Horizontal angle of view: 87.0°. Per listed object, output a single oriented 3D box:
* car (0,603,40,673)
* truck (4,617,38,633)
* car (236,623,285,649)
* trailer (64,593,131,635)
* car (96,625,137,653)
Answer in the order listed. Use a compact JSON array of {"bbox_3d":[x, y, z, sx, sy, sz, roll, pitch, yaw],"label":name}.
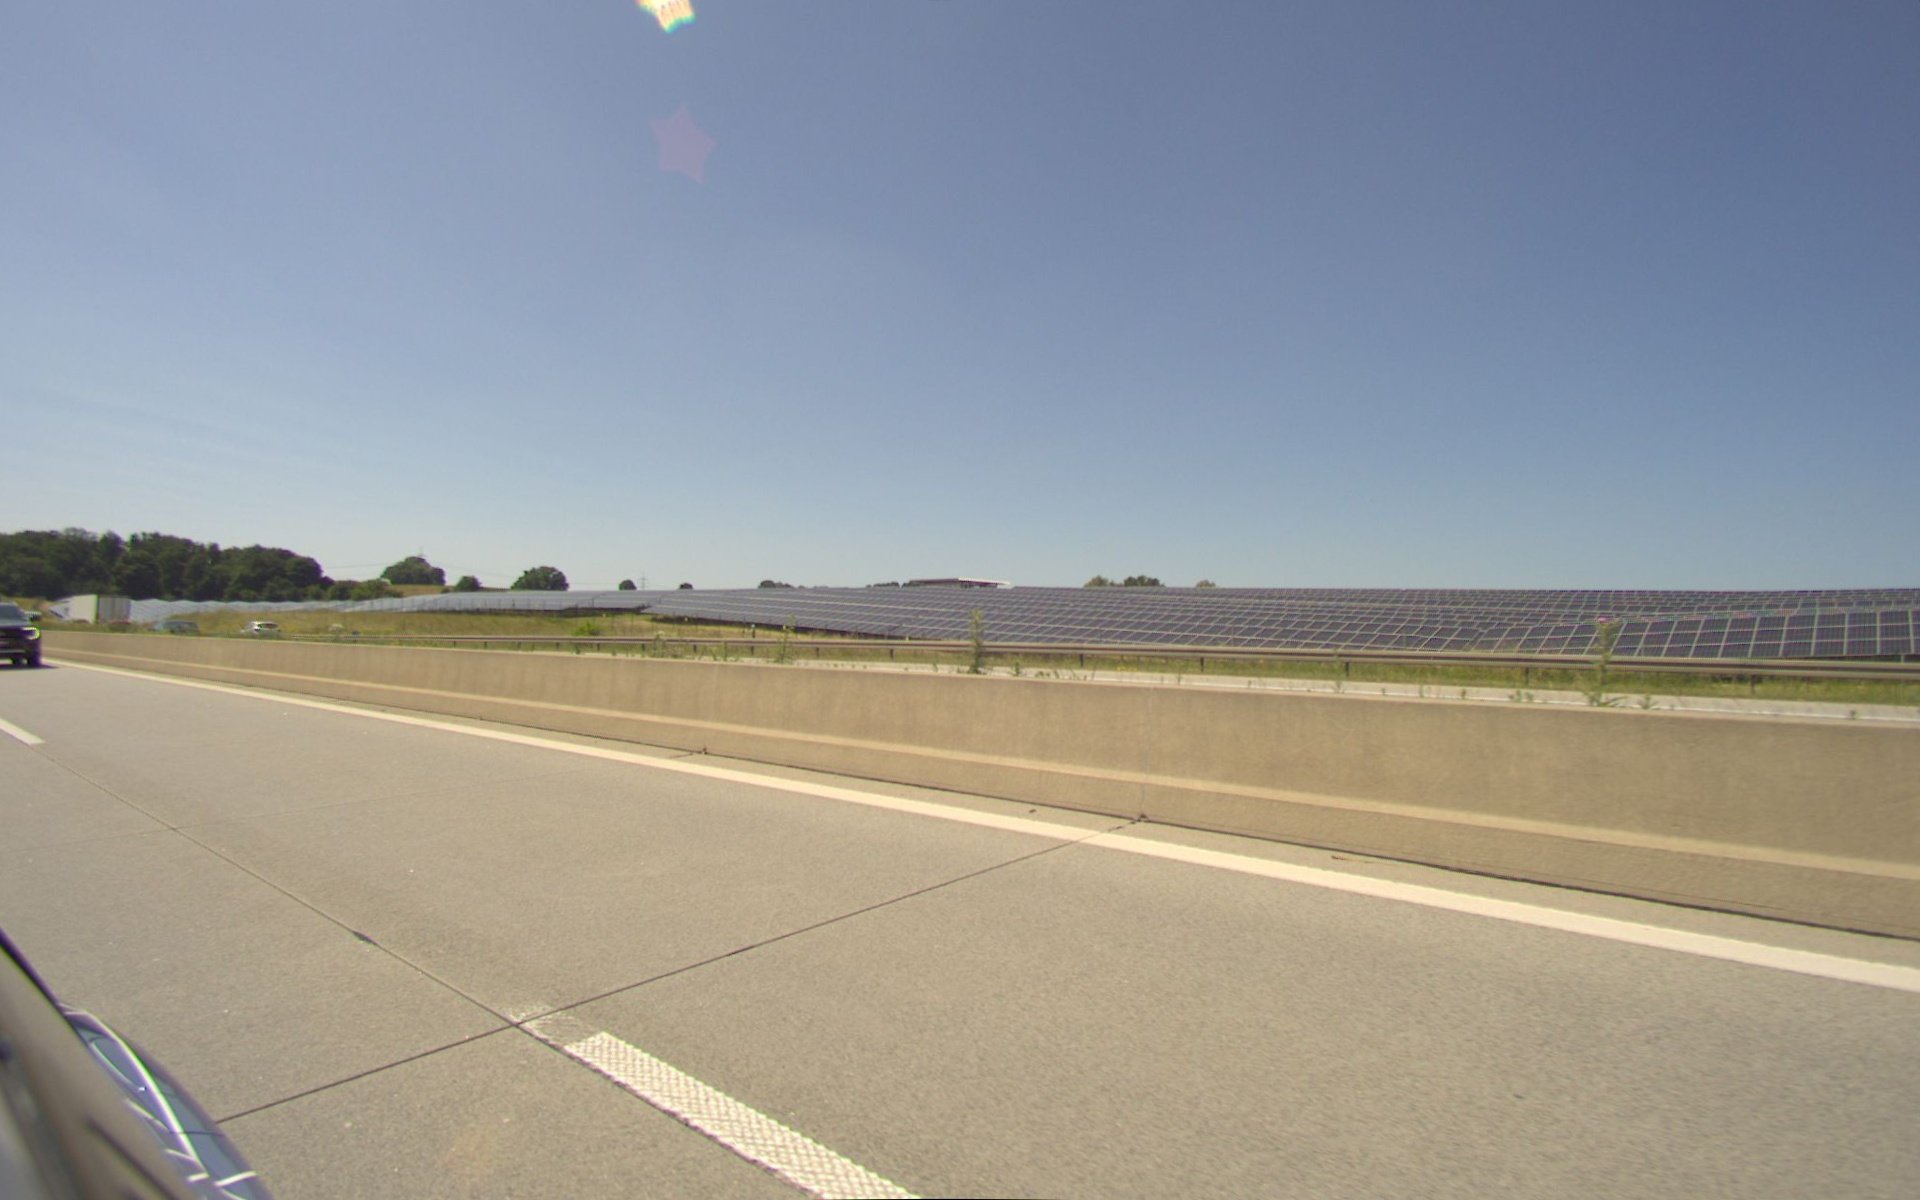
[{"bbox_3d":[-27.991,1.056,28.971,6.530,1.860,1.972,-1,0,43],"label":"car"},{"bbox_3d":[-124.594,3.272,134.255,7.625,2.029,2.491,-1,-1,41],"label":"truck"},{"bbox_3d":[-44.260,2.260,63.973,3.998,1.493,1.609,-1,-1,41],"label":"car"},{"bbox_3d":[-87.791,1.431,102.911,14.132,4.035,3.059,-1,-1,41],"label":"trailer"},{"bbox_3d":[-63.734,2.911,76.476,3.998,2.029,1.781,-1,-1,41],"label":"car"}]
